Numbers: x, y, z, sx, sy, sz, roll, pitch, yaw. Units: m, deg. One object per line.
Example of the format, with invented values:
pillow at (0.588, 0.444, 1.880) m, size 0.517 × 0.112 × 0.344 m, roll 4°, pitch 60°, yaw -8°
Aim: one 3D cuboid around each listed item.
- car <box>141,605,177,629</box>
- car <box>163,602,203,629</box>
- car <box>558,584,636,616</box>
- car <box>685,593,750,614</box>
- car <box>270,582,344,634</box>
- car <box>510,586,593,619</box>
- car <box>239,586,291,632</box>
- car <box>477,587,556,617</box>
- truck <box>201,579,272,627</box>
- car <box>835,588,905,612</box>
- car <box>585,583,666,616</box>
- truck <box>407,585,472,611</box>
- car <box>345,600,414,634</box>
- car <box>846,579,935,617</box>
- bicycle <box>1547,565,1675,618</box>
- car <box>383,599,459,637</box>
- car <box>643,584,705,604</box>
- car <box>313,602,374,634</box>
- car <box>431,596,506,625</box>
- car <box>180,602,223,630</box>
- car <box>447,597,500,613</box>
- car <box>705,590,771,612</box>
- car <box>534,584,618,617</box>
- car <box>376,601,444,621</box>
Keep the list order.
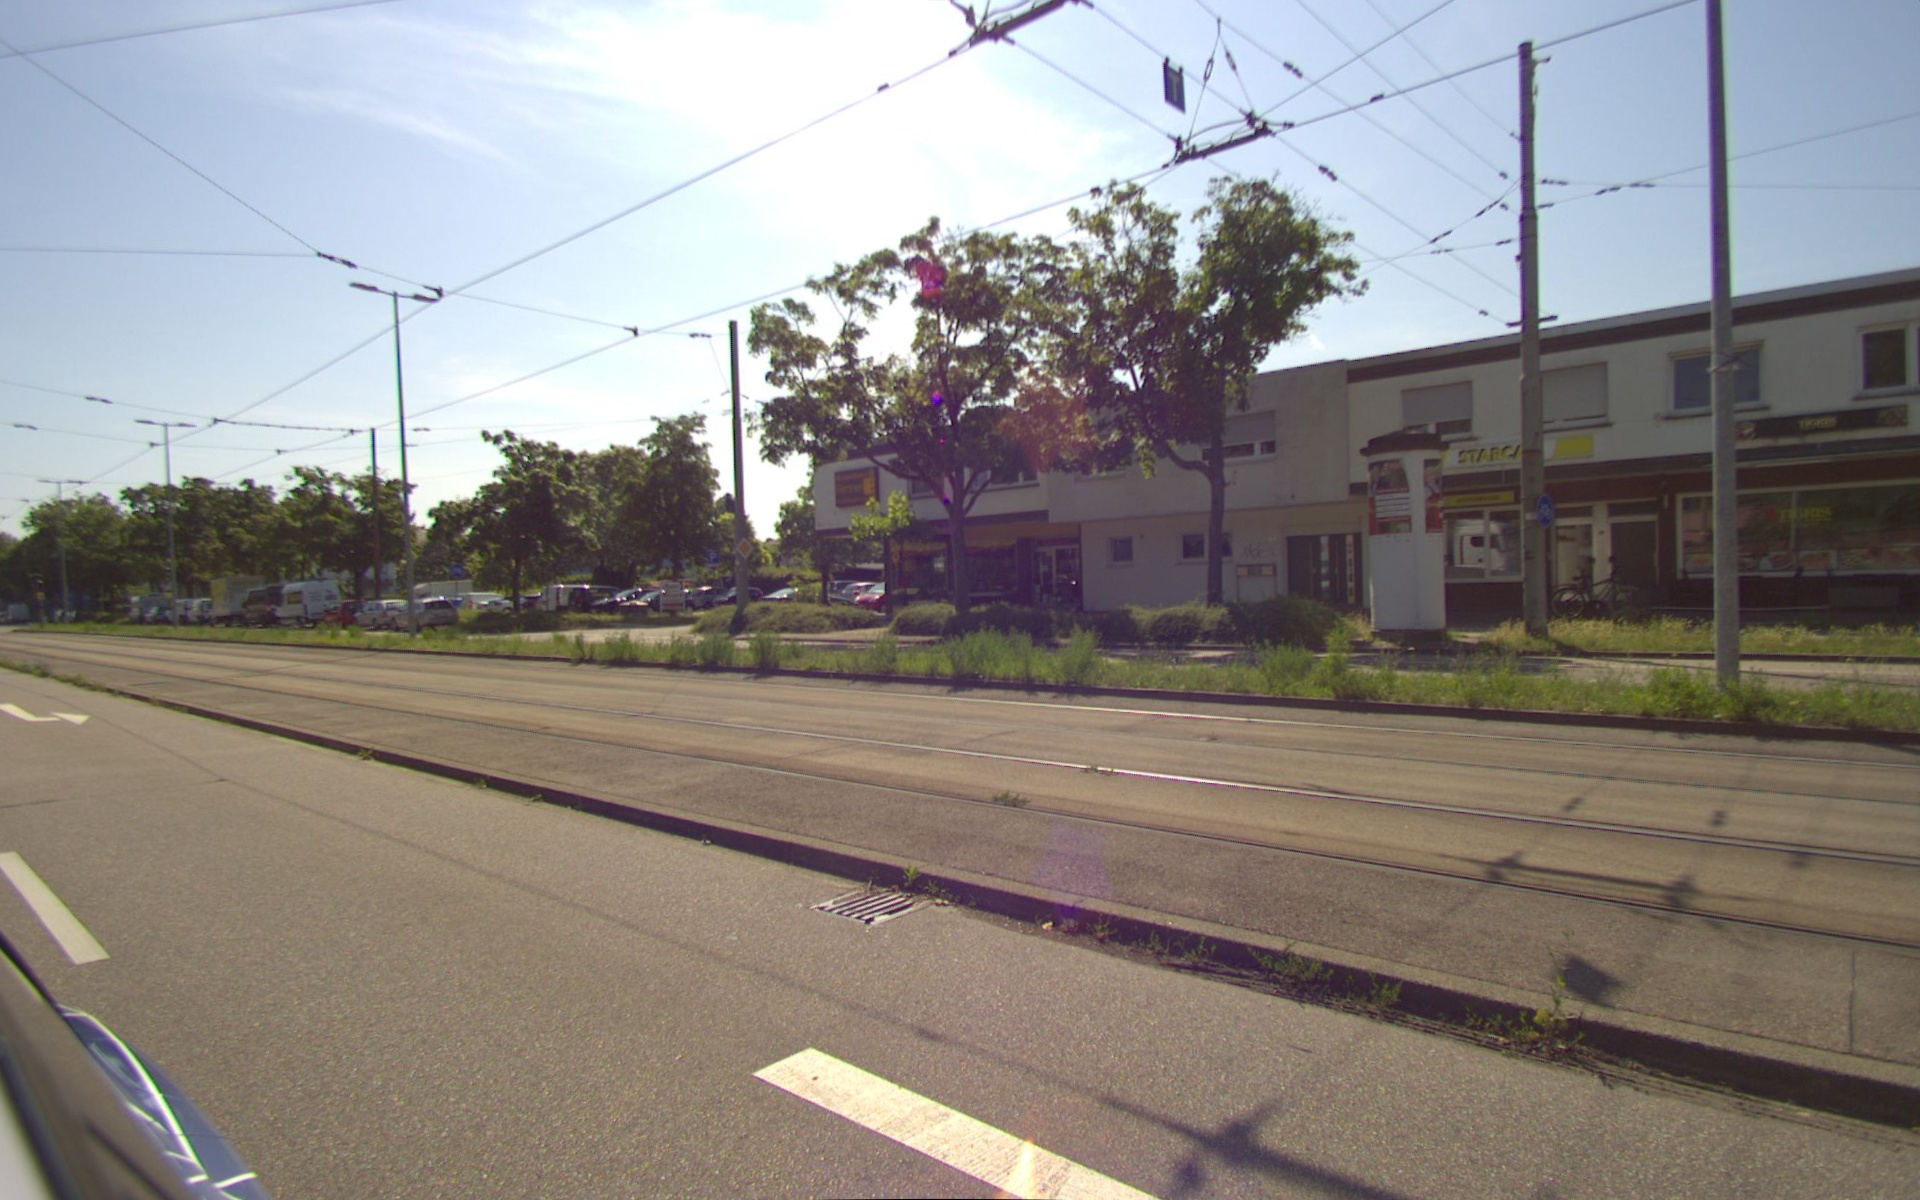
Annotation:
car at (-64.400, 1.382, 81.366) m, size 3.685 × 1.799 × 1.484 m, roll -1°, pitch 4°, yaw 40°
car at (-59.742, 1.211, 77.824) m, size 4.056 × 1.859 × 1.484 m, roll -1°, pitch 4°, yaw 40°
car at (-20.214, -0.006, 56.455) m, size 1.676 × 1.646 × 3.761 m, roll -1°, pitch 1°, yaw 42°
car at (-17.097, 0.247, 71.437) m, size 1.676 × 1.345 × 4.197 m, roll -1°, pitch 1°, yaw 42°
car at (-37.245, 0.470, 57.653) m, size 5.201 × 2.673 × 2.036 m, roll -1°, pitch 4°, yaw 41°
car at (-24.032, 0.131, 59.669) m, size 1.988 × 1.751 × 4.068 m, roll -1°, pitch 1°, yaw 38°
car at (-42.278, 0.562, 61.540) m, size 4.005 × 2.643 × 1.483 m, roll -1°, pitch 4°, yaw 41°
car at (-28.019, 0.096, 64.001) m, size 1.988 × 1.751 × 4.068 m, roll -1°, pitch 1°, yaw 38°
truck at (-48.333, 0.213, 67.519) m, size 5.902 × 2.956 × 2.476 m, roll -1°, pitch 4°, yaw 42°
car at (-5.456, -0.023, 61.631) m, size 1.676 × 1.345 × 4.197 m, roll -1°, pitch 1°, yaw 42°
car at (-17.960, -0.045, 54.432) m, size 1.676 × 1.646 × 3.761 m, roll -1°, pitch 1°, yaw 42°
truck at (-52.919, -0.246, 102.994) m, size 1.988 × 2.398 × 5.584 m, roll -1°, pitch 1°, yaw 38°
car at (-29.301, 0.863, 51.030) m, size 4.255 × 1.544 × 1.654 m, roll -1°, pitch 4°, yaw 41°
car at (-3.238, -0.118, 47.986) m, size 1.676 × 1.616 × 4.197 m, roll -1°, pitch 1°, yaw 42°
bicycle at (14.694, -0.168, 22.895) m, size 2.333 × 1.161 × 0.779 m, roll -1°, pitch -1°, yaw 42°
car at (-25.238, 0.835, 47.338) m, size 4.255 × 1.544 × 1.654 m, roll -1°, pitch 4°, yaw 41°
car at (-21.093, -0.481, 74.698) m, size 1.674 × 1.345 × 4.201 m, roll -1°, pitch 1°, yaw 39°
car at (-33.148, 0.948, 54.370) m, size 3.791 × 1.544 × 1.654 m, roll -1°, pitch 4°, yaw 41°
car at (-33.292, 0.706, 68.420) m, size 5.739 × 1.825 × 2.560 m, roll -1°, pitch 1°, yaw 42°
car at (-54.778, 1.158, 73.076) m, size 4.631 × 1.817 × 1.483 m, roll -1°, pitch 4°, yaw 41°
car at (-45.983, 0.426, 95.684) m, size 1.676 × 1.345 × 4.198 m, roll -1°, pitch 1°, yaw 41°
car at (-15.279, 0.072, 69.725) m, size 1.676 × 1.345 × 4.197 m, roll -1°, pitch 1°, yaw 42°
car at (-22.056, -0.005, 58.187) m, size 1.988 × 1.751 × 4.068 m, roll -1°, pitch 1°, yaw 38°
car at (-42.061, 0.810, 77.436) m, size 1.676 × 1.345 × 4.198 m, roll -1°, pitch 1°, yaw 41°
